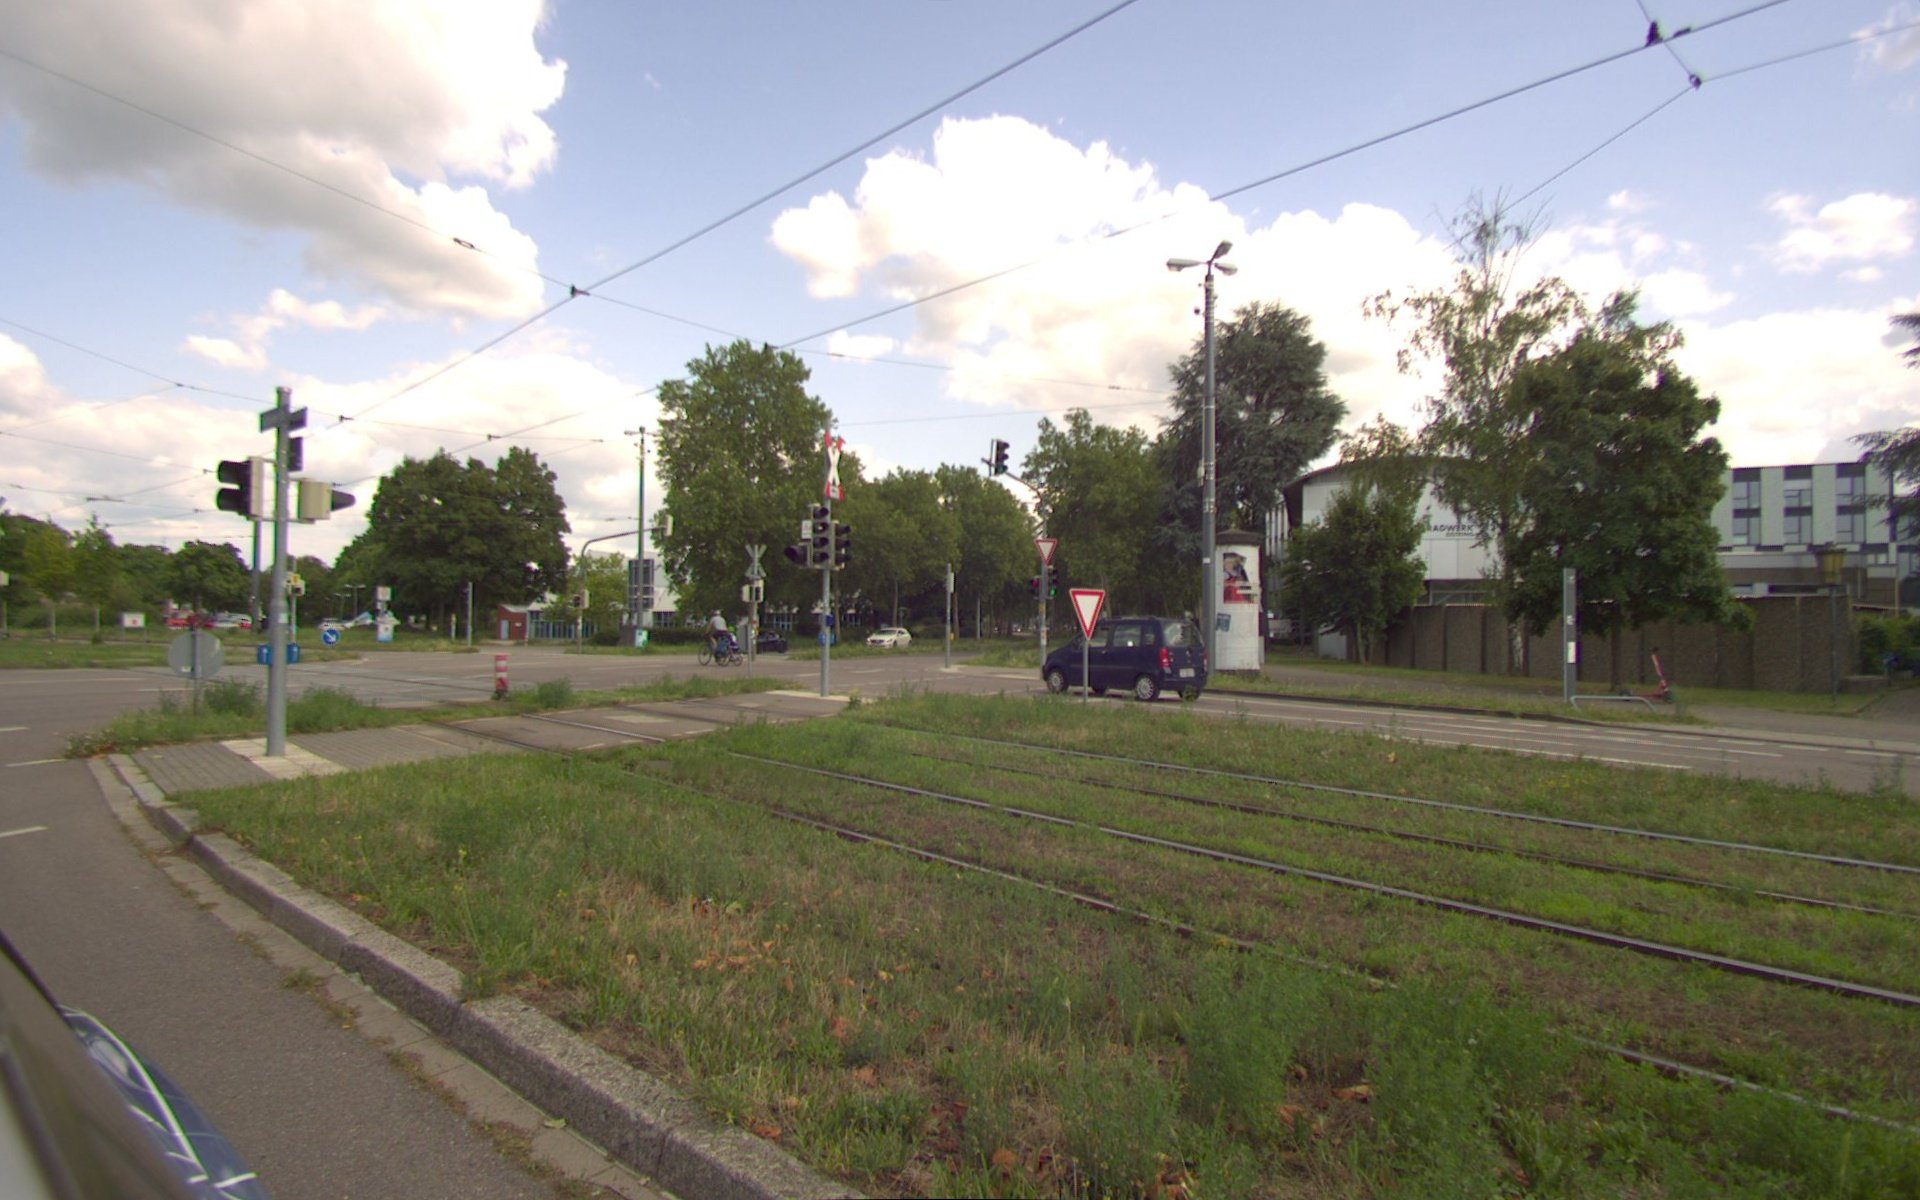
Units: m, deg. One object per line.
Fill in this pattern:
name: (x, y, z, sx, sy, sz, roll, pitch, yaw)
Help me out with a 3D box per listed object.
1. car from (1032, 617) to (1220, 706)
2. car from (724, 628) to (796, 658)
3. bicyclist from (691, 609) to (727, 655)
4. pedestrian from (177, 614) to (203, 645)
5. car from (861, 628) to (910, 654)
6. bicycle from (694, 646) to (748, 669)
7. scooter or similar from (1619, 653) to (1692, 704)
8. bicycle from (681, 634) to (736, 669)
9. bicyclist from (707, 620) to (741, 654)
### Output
car: (3.354, 1.191, 20.826, 1.757, 1.639, 3.500, 2, -2, -42)
car: (-10.592, 2.255, 53.931, 1.692, 1.535, 3.818, 0, -2, 30)
bicyclist: (-8.174, 1.032, 32.955, 0.925, 1.468, 0.619, 0, -2, 30)
pedestrian: (-47.737, 1.838, 62.729, 0.998, 1.882, 0.899, 0, -2, 29)
car: (-4.624, 2.543, 63.321, 1.685, 1.535, 3.888, 0, -2, 18)
bicycle: (-7.947, 1.901, 33.617, 1.797, 0.723, 0.641, 0, -2, 30)
scooter or similar: (14.909, 1.669, 21.732, 0.420, 1.041, 1.227, 1, -2, -29)
bicycle: (-8.201, 1.671, 32.945, 1.797, 1.088, 0.641, 0, -2, 30)
bicyclist: (-7.824, 1.220, 33.563, 0.924, 1.121, 0.635, 0, -2, 29)
